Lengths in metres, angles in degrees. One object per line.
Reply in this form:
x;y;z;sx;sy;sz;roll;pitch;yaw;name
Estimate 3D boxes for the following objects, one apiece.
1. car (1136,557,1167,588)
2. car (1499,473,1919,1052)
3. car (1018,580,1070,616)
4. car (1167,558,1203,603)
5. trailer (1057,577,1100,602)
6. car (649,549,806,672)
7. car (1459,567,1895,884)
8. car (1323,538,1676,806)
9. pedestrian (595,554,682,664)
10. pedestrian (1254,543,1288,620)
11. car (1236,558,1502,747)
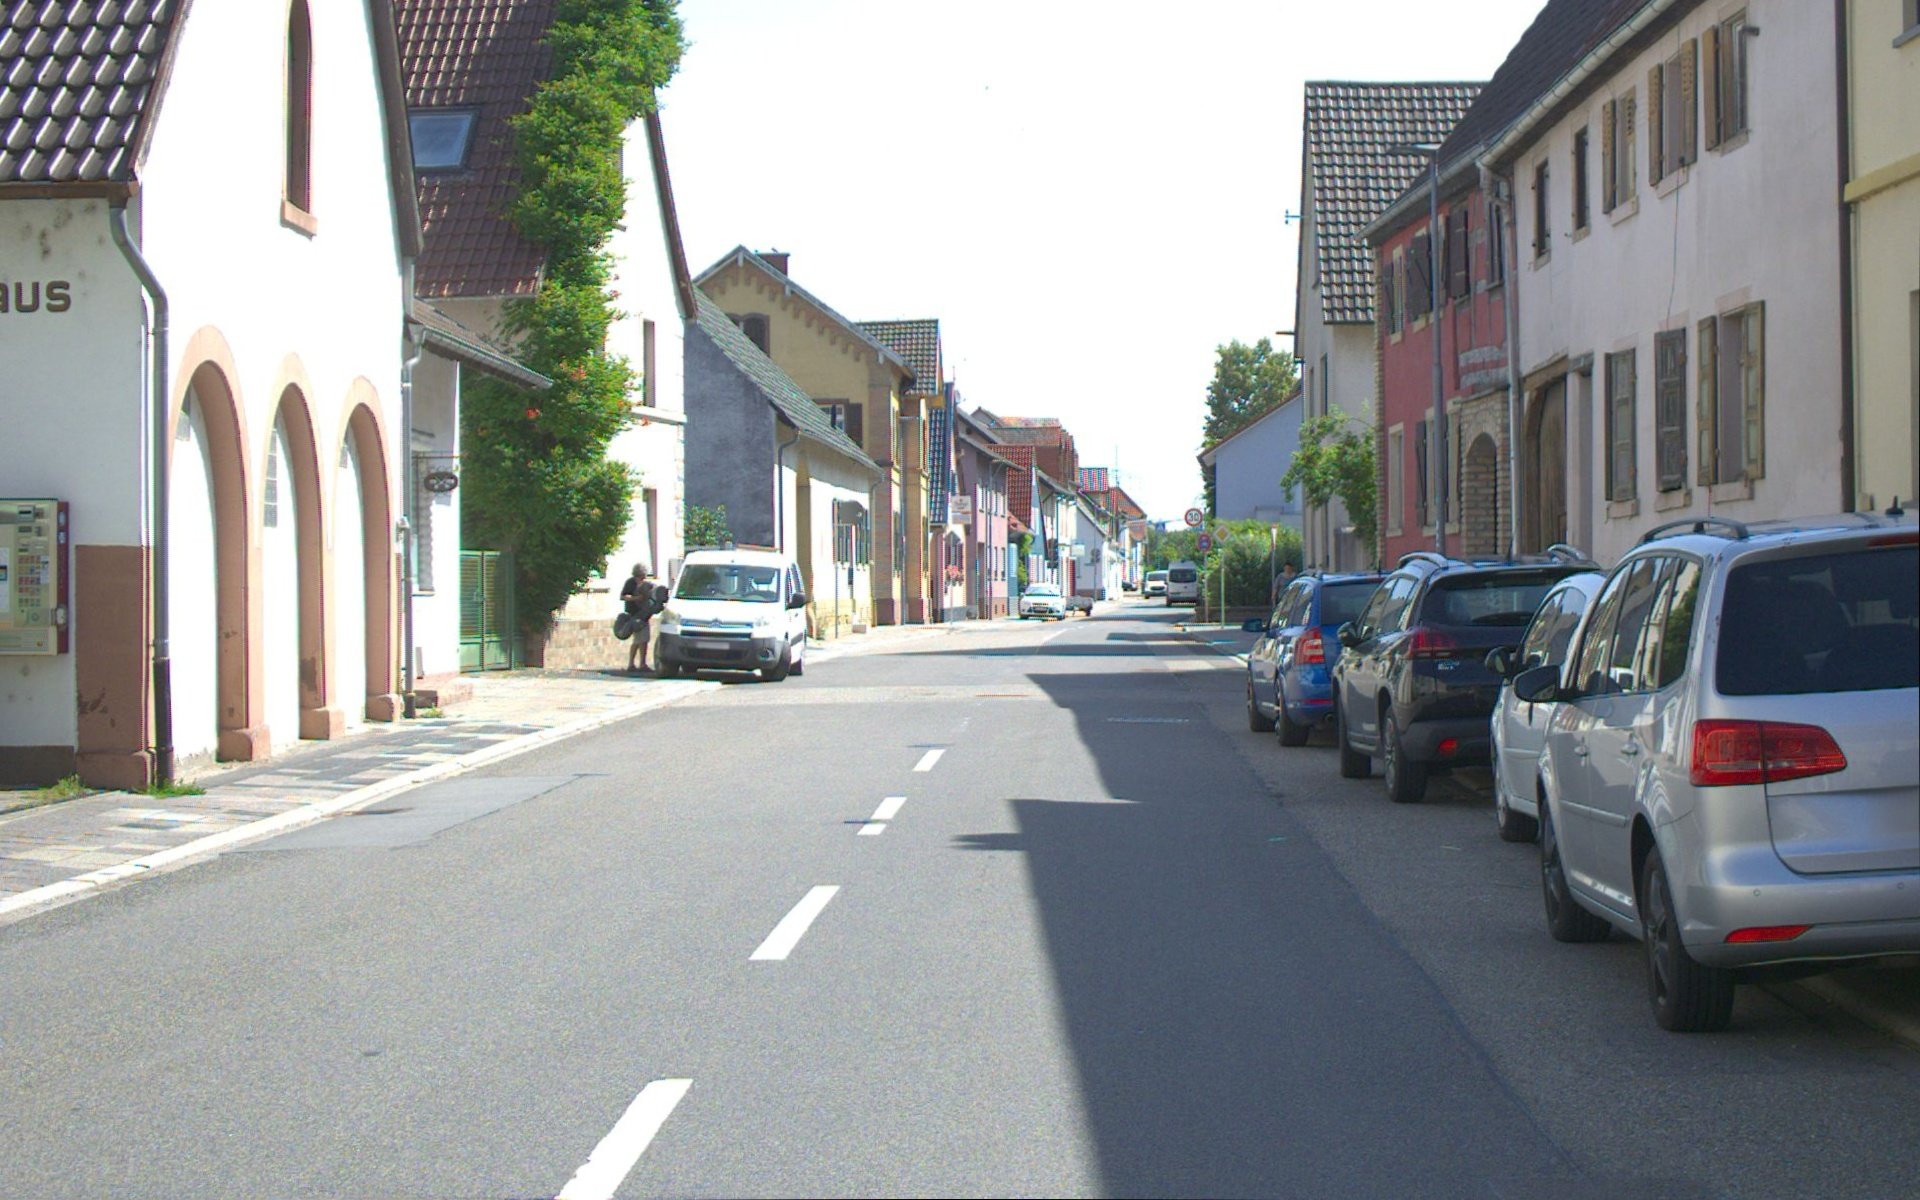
14.022;-2.013;251.546;2.158;2.073;3.999;-1;-1;2;car
3.160;0.469;12.340;1.898;1.722;4.248;0;0;2;car
3.494;-0.104;142.755;1.994;1.437;4.000;-1;0;3;car
13.136;-1.120;200.733;2.017;2.559;4.000;-1;0;3;car
5.492;-0.480;159.430;1.993;1.086;4.000;0;1;2;trailer
-3.224;0.117;48.375;1.855;1.641;4.430;0;1;1;car
3.585;0.566;17.765;1.551;1.433;3.720;-1;0;2;car
3.481;0.422;22.833;1.699;1.578;4.027;-1;0;0;car
-4.564;0.121;48.828;1.136;1.546;1.017;0;0;0;pedestrian
6.679;-0.399;73.796;0.719;1.658;0.892;0;0;7;pedestrian
3.432;0.400;29.566;1.698;1.464;4.410;-1;0;0;car
